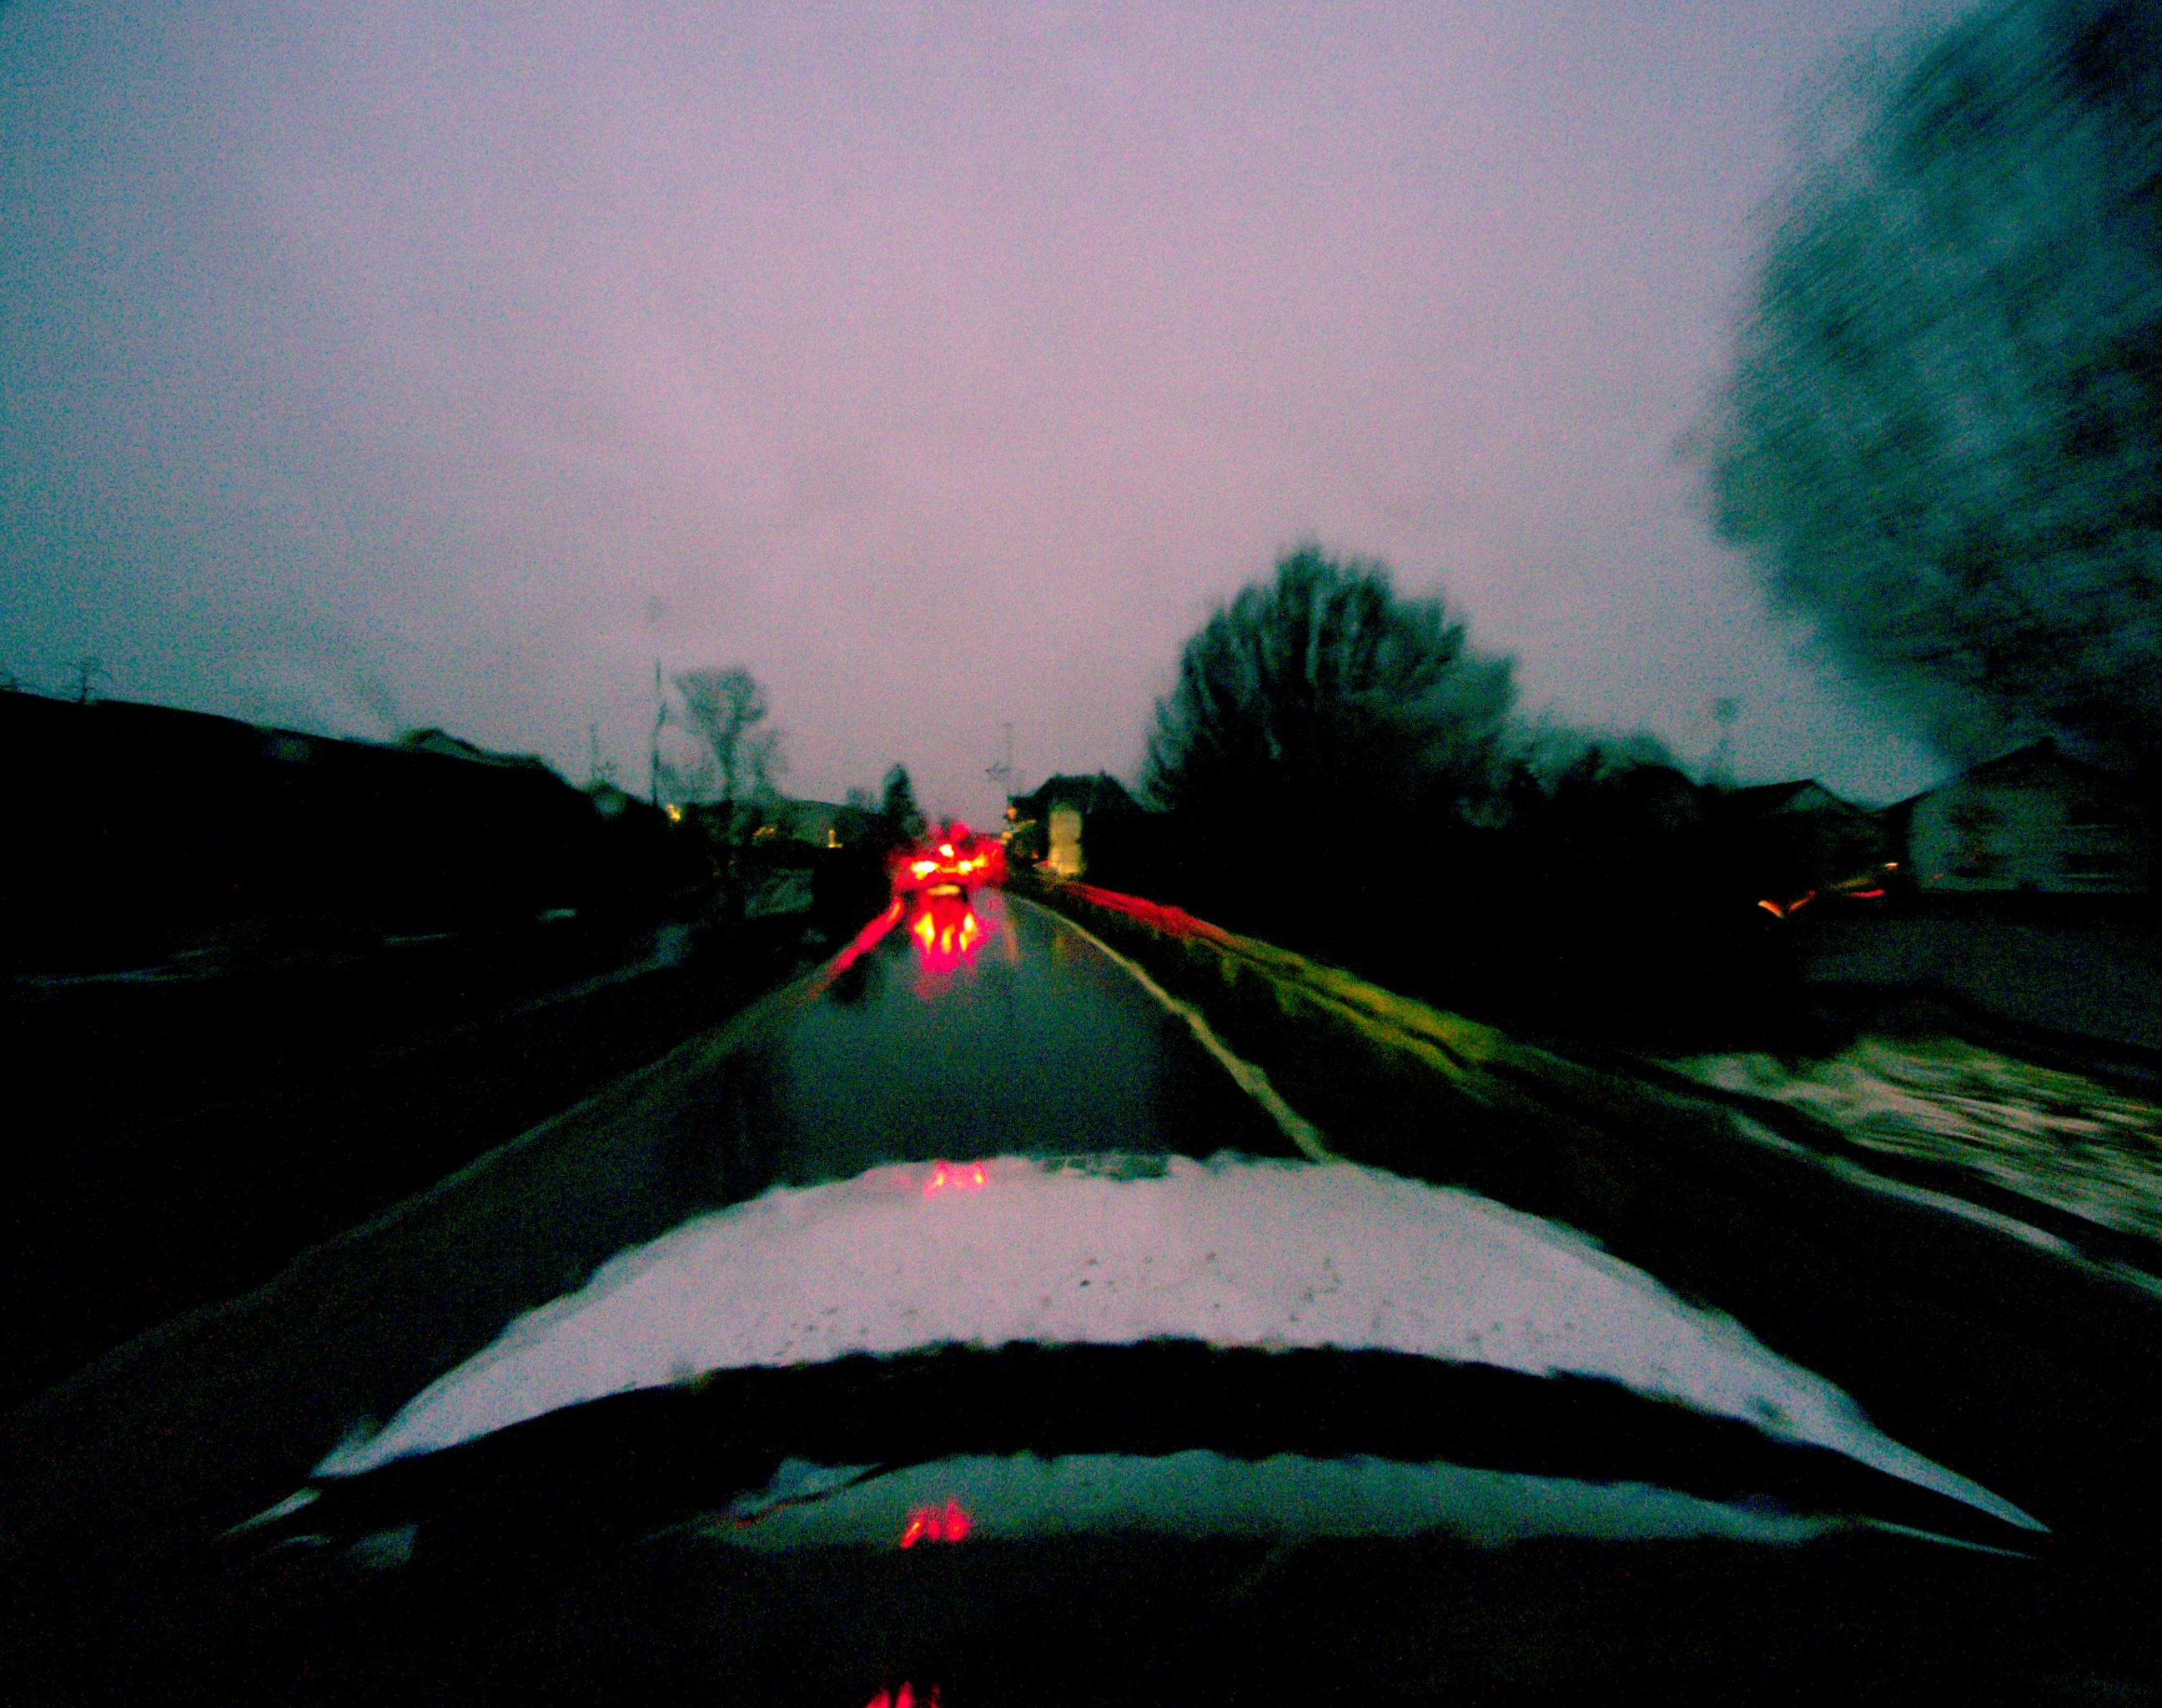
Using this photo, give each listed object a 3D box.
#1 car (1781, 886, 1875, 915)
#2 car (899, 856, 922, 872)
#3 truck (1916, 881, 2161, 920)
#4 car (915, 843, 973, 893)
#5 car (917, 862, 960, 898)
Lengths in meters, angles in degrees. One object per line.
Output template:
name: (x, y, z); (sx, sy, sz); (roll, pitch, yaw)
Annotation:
car: (43.766, 2.679, 47.759); (1.924, 1.515, 3.950); (0, -1, -45)
car: (-17.296, 0.993, 82.495); (1.778, 1.544, 3.974); (0, -1, -19)
truck: (52.869, 2.498, 45.432); (8.554, 1.815, 2.430); (-1, 0, 41)
car: (-5.150, 0.517, 30.392); (1.945, 1.718, 3.985); (1, 0, -11)
car: (-7.649, 1.367, 43.785); (2.164, 1.689, 4.556); (0, 1, -10)
